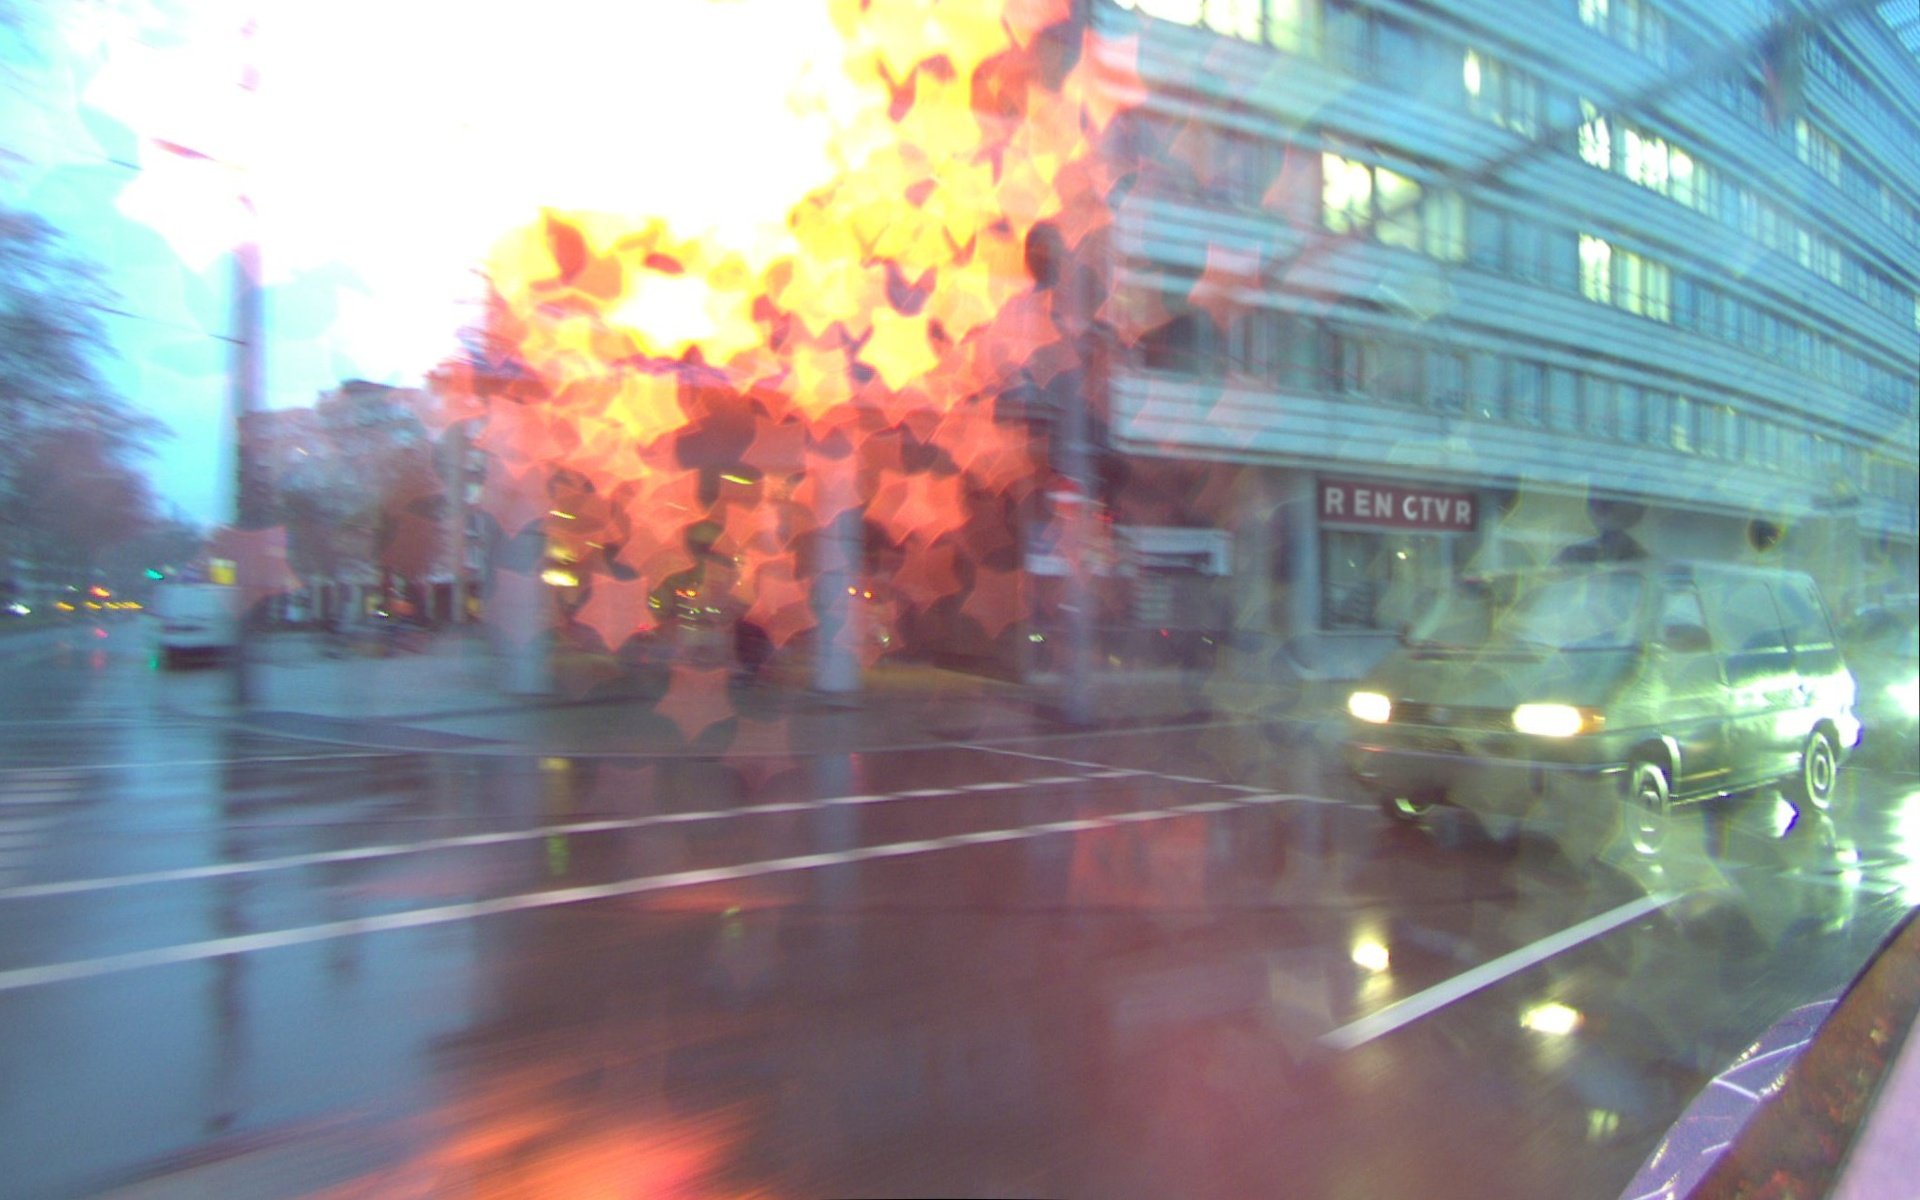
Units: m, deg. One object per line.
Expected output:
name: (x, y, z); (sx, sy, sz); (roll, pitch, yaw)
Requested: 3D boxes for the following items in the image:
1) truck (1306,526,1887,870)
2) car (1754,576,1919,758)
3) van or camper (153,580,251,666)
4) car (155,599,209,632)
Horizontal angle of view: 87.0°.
truck: (4.962, 0.594, 7.737); (4.525, 1.942, 1.911); (1, -2, -32)
car: (11.533, 0.710, 11.803); (4.594, 1.843, 1.912); (0, -2, -29)
van or camper: (-19.104, 0.550, 25.447); (1.808, 1.953, 4.743); (1, -1, -38)
car: (-36.529, 0.675, 47.577); (1.807, 1.451, 4.000); (0, 0, -35)
